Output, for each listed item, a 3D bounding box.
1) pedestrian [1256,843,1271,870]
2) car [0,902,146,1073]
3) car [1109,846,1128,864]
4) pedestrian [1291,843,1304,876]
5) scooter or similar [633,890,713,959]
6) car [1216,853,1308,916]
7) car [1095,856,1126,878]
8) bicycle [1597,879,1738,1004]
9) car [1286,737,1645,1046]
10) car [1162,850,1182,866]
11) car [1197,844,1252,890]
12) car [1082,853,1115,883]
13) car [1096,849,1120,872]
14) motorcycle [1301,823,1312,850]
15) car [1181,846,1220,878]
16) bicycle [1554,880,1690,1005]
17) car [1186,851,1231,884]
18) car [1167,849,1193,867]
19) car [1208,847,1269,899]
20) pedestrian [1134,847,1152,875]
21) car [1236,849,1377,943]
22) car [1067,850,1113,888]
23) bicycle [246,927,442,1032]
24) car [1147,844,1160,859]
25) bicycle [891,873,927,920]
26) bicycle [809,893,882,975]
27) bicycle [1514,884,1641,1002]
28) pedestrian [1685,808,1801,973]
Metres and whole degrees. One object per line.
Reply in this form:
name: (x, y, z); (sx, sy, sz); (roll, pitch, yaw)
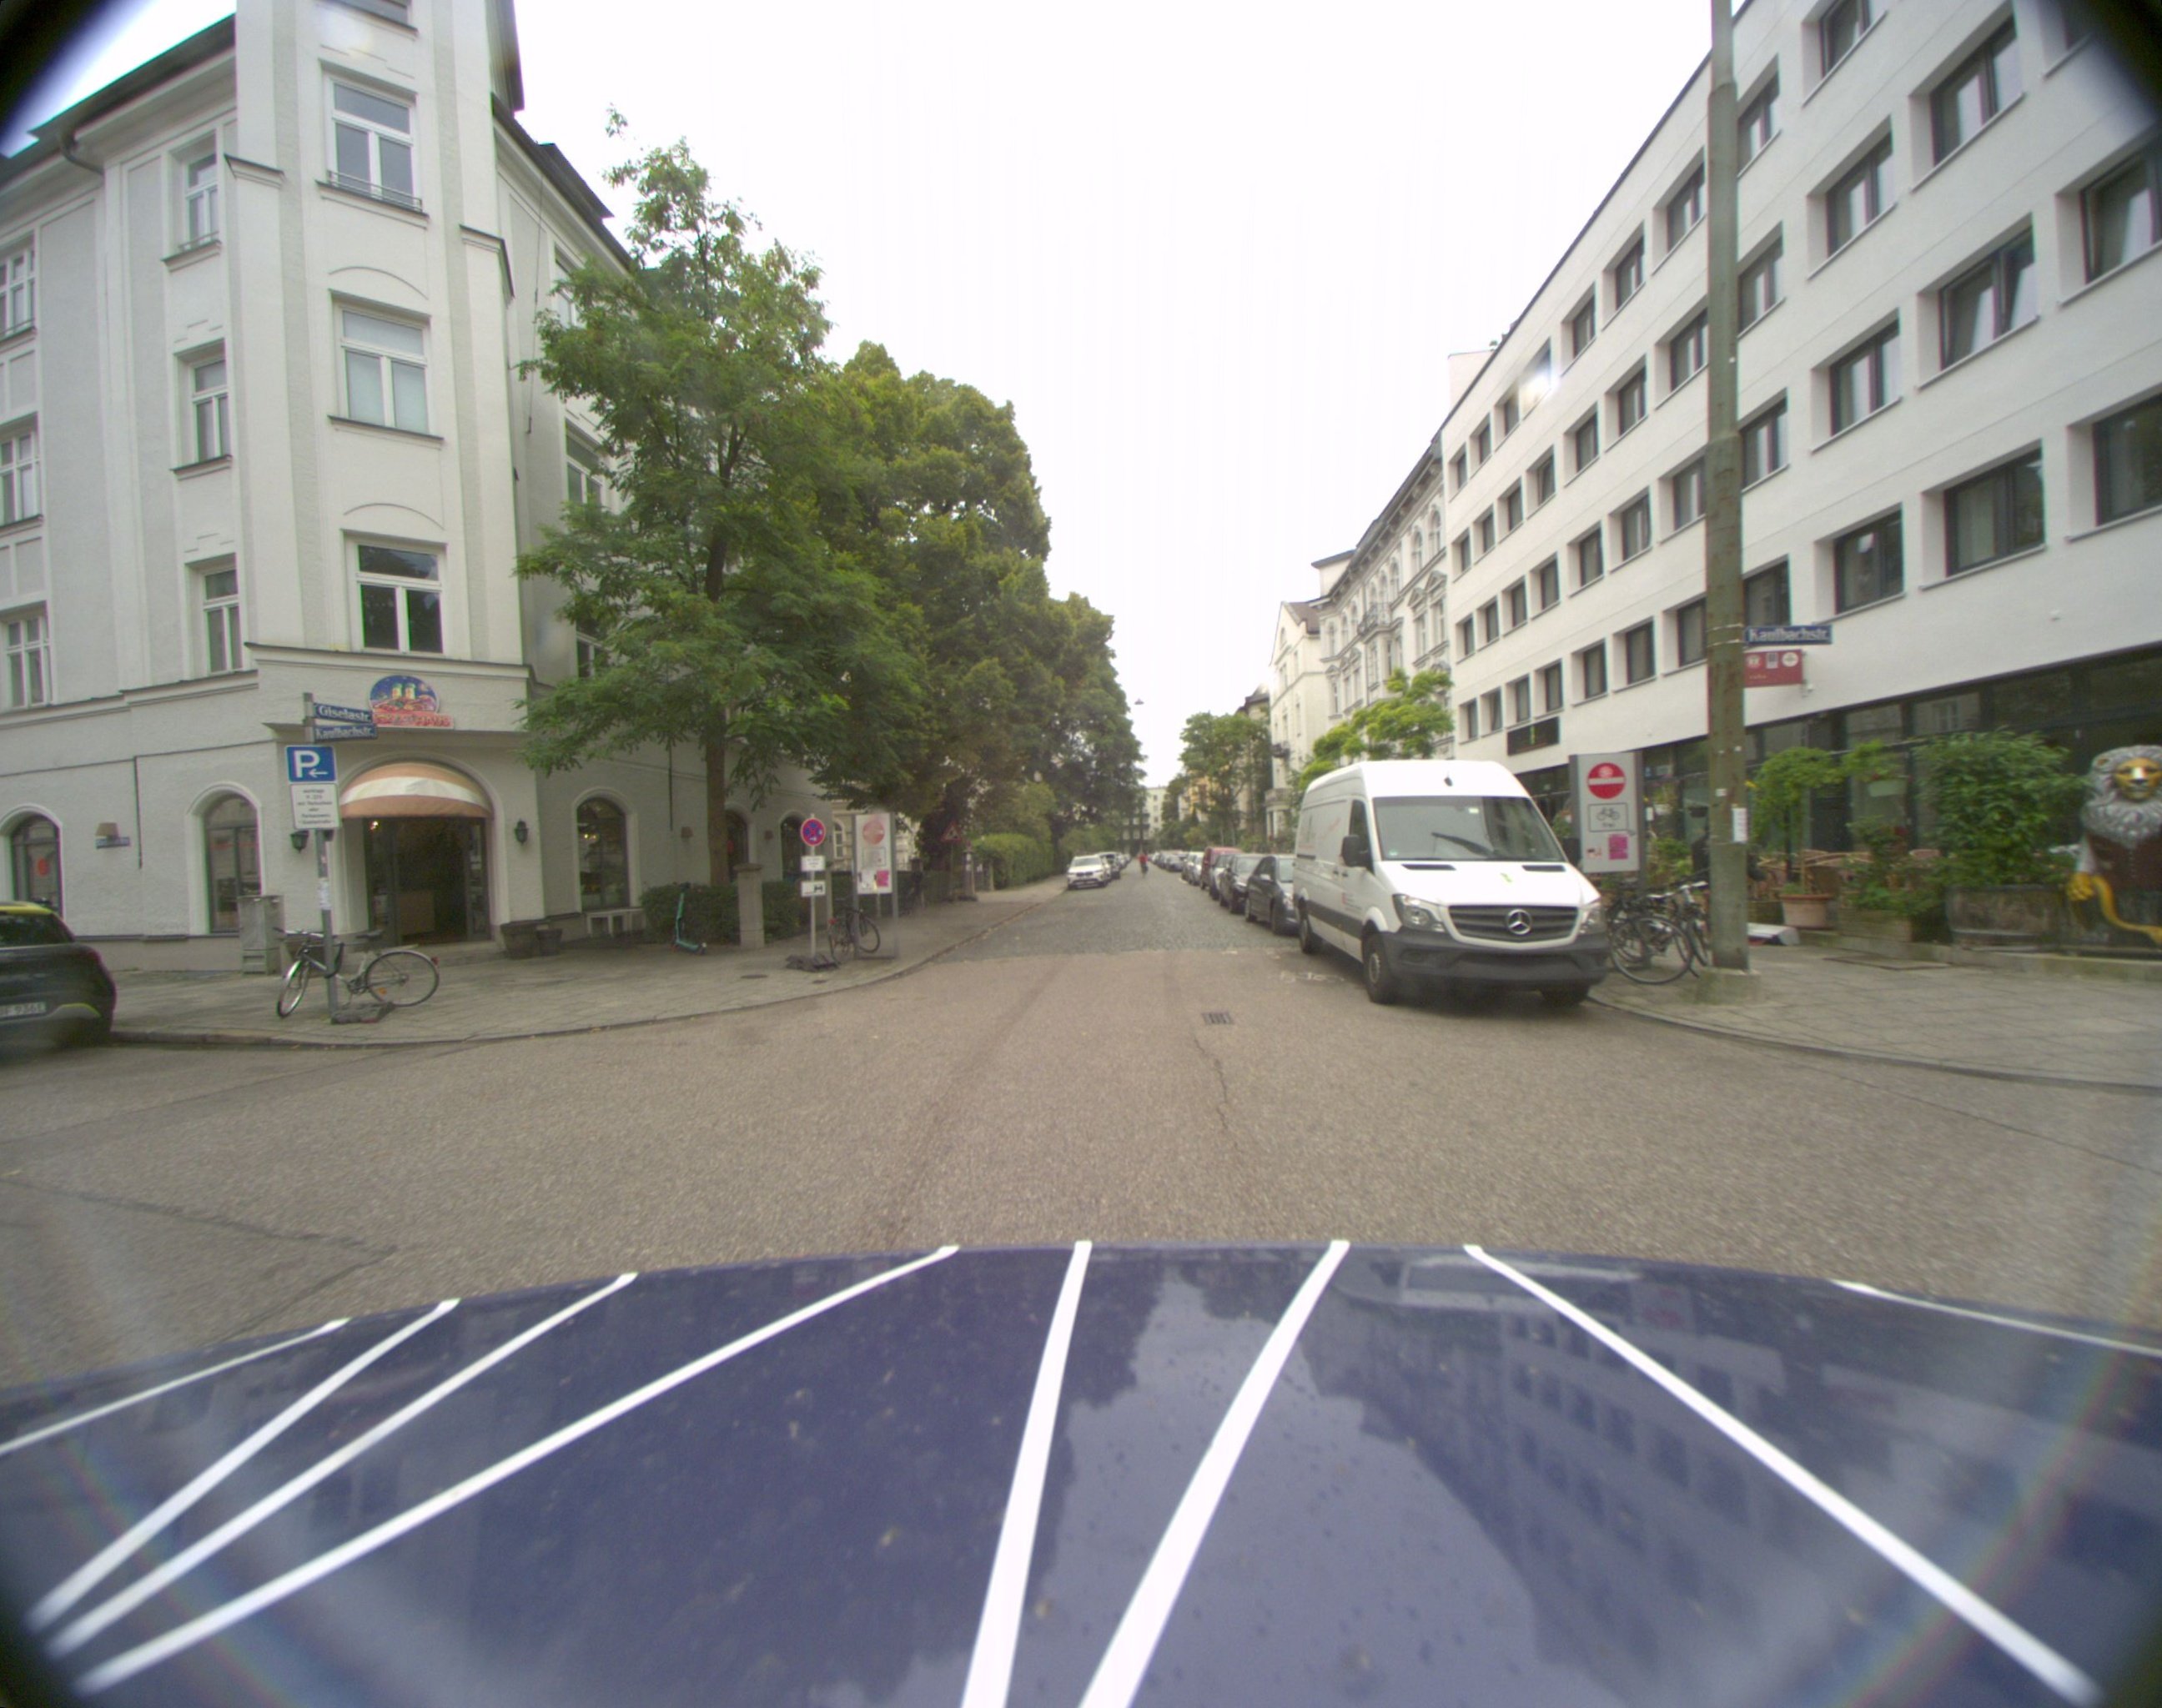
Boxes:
pedestrian: (11.568, 0.153, 48.158); (0.665, 1.618, 0.670); (-2, 1, 36)
car: (-12.543, 1.432, 7.850); (4.081, 1.588, 1.907); (-3, 1, 12)
car: (4.479, 0.098, 90.975); (1.998, 2.002, 4.001); (-3, 1, 5)
pedestrian: (11.095, 0.289, 38.992); (0.577, 1.637, 0.822); (-1, 0, 11)
scooter or similar: (-7.369, 1.251, 13.709); (1.604, 1.166, 0.405); (-1, 2, 28)
car: (4.660, 0.713, 20.148); (1.729, 1.456, 4.474); (0, 1, 5)
car: (1.956, 0.843, 51.033); (1.923, 1.290, 4.809); (-3, 1, 2)
bicycle: (6.263, 0.876, 8.214); (0.256, 1.120, 1.731); (-3, 1, 4)
car: (3.977, 0.279, 9.252); (1.981, 2.559, 5.796); (-1, 1, 6)
car: (8.717, 0.377, 72.688); (1.713, 1.416, 4.001); (-3, 1, 5)
car: (5.720, 0.472, 30.631); (1.721, 1.713, 3.899); (-1, 1, 4)
car: (1.117, 0.804, 46.353); (1.751, 1.591, 4.472); (-3, 1, 4)
car: (2.356, 0.514, 64.335); (1.818, 1.809, 4.809); (-4, 1, 4)
motorcycle: (10.380, -0.811, 35.016); (0.331, 1.173, 1.627); (-2, 1, 20)
car: (6.580, 0.410, 42.164); (1.693, 1.563, 4.068); (-3, 1, 3)
bicycle: (5.815, 0.889, 8.279); (0.256, 1.120, 1.807); (-3, 1, 4)
car: (6.140, 0.604, 36.947); (1.635, 1.386, 3.816); (-3, 1, 3)
car: (8.394, 0.320, 64.669); (1.885, 1.411, 4.810); (-2, 0, 4)
car: (5.134, 0.566, 25.164); (1.696, 1.495, 3.778); (-3, 1, 8)
pedestrian: (4.221, 0.467, 51.468); (1.105, 1.768, 1.263); (-3, 1, 5)
car: (4.210, 0.700, 14.831); (1.665, 1.474, 3.982); (-3, 1, 2)
car: (0.523, 0.696, 38.974); (1.924, 1.676, 4.634); (-2, 1, 5)
bicycle: (-8.618, 1.444, 8.927); (1.604, 1.064, 0.739); (-1, 5, 7)
car: (10.372, -0.313, 108.491); (1.762, 2.002, 4.001); (-3, 1, 5)
bicycle: (-4.818, 1.178, 21.409); (0.428, 1.191, 1.731); (3, 1, 5)
bicycle: (-3.832, 1.271, 12.471); (0.389, 1.140, 1.590); (-2, 1, 11)
bicycle: (5.454, 0.919, 8.465); (0.286, 1.085, 1.816); (-2, 0, 3)
pedestrian: (7.785, 0.410, 8.971); (0.615, 1.830, 0.813); (-3, 1, -2)
